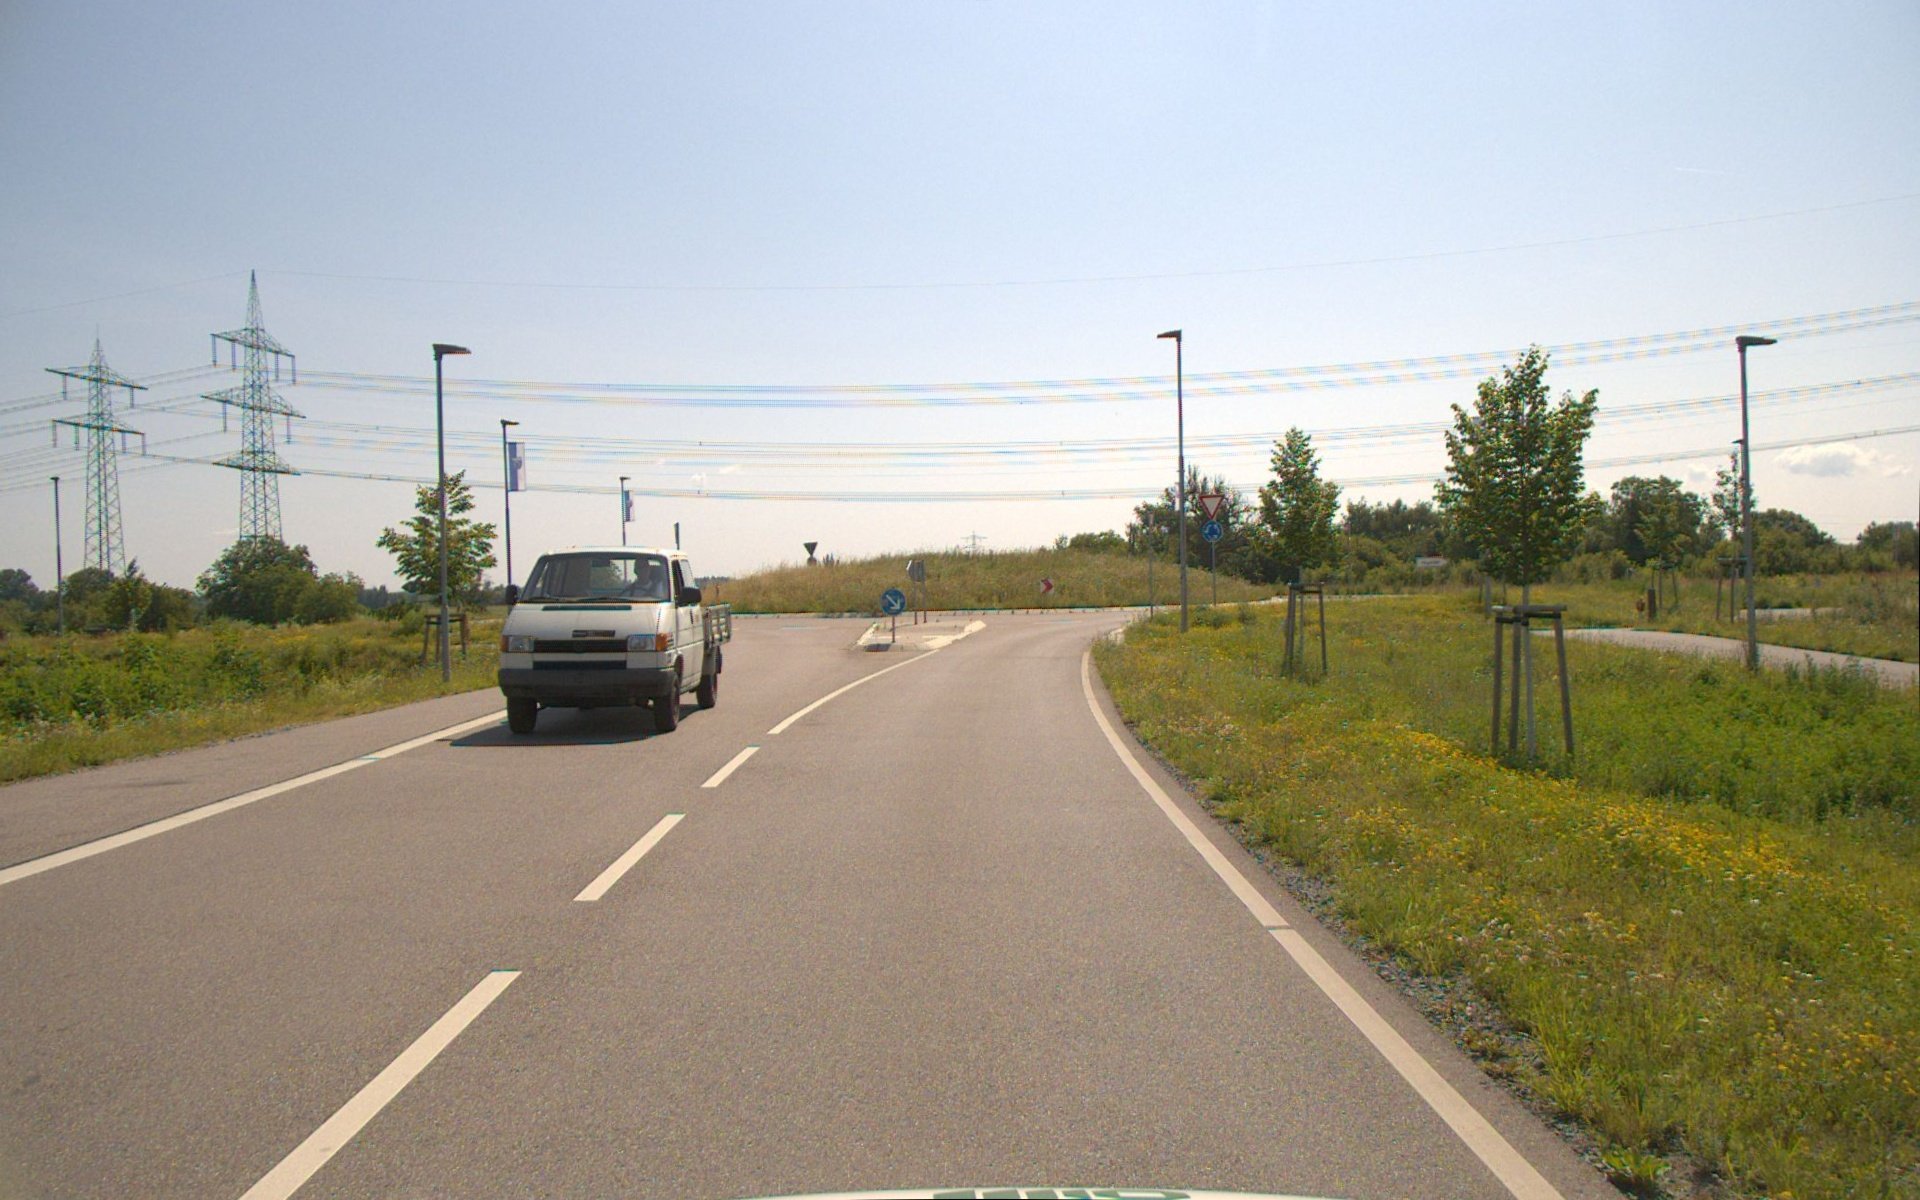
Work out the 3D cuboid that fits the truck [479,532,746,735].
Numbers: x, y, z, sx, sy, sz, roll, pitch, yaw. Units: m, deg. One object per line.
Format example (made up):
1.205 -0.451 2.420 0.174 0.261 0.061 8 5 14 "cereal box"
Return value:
-3.845 0.293 19.394 1.911 2.019 5.644 0 1 0 "truck"
